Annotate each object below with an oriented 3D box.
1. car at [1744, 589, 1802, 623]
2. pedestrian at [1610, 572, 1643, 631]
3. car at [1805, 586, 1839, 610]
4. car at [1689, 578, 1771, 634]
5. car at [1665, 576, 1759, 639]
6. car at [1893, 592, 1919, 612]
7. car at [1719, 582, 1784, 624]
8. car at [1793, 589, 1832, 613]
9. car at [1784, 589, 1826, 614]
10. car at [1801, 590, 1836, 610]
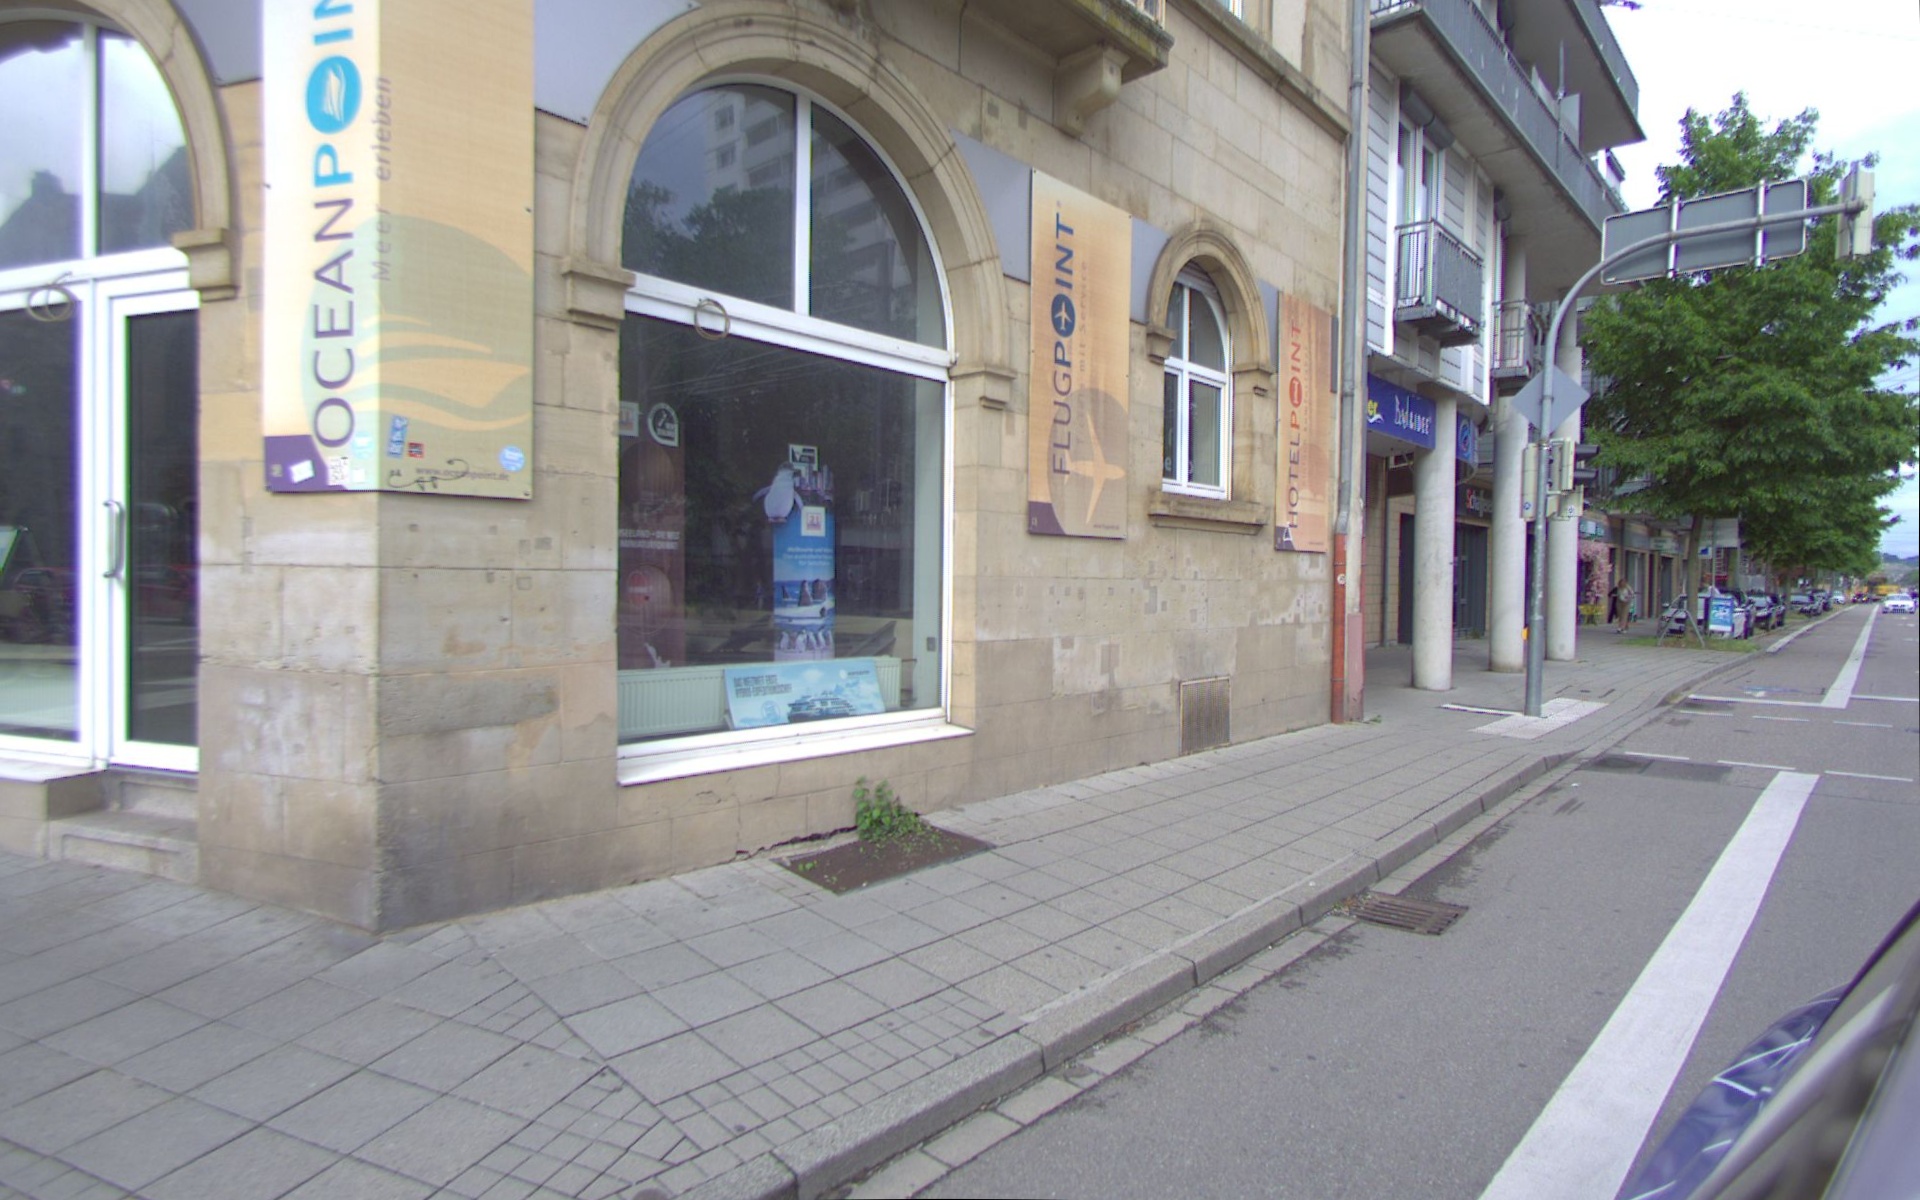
[{"bbox_3d":[37.179,0.246,46.258,1.726,1.400,3.756,3,3,43],"label":"car"},{"bbox_3d":[21.161,0.038,32.153,0.742,1.828,0.827,-1,0,42],"label":"pedestrian"},{"bbox_3d":[66.202,-0.171,77.707,1.726,1.705,3.756,3,3,43],"label":"car"},{"bbox_3d":[25.487,0.153,33.463,1.726,1.682,3.881,3,3,43],"label":"car"},{"bbox_3d":[22.376,0.180,30.072,1.727,1.682,4.039,4,3,43],"label":"car"},{"bbox_3d":[69.616,0.156,74.103,1.860,1.363,3.756,3,3,43],"label":"car"},{"bbox_3d":[31.966,0.085,40.843,1.681,1.564,3.881,3,3,43],"label":"car"},{"bbox_3d":[55.555,0.045,65.947,1.726,1.400,3.756,3,3,43],"label":"car"},{"bbox_3d":[51.333,0.087,61.465,1.726,1.400,3.756,3,3,43],"label":"car"},{"bbox_3d":[62.685,-0.023,73.880,1.726,1.400,3.756,3,3,43],"label":"car"}]
